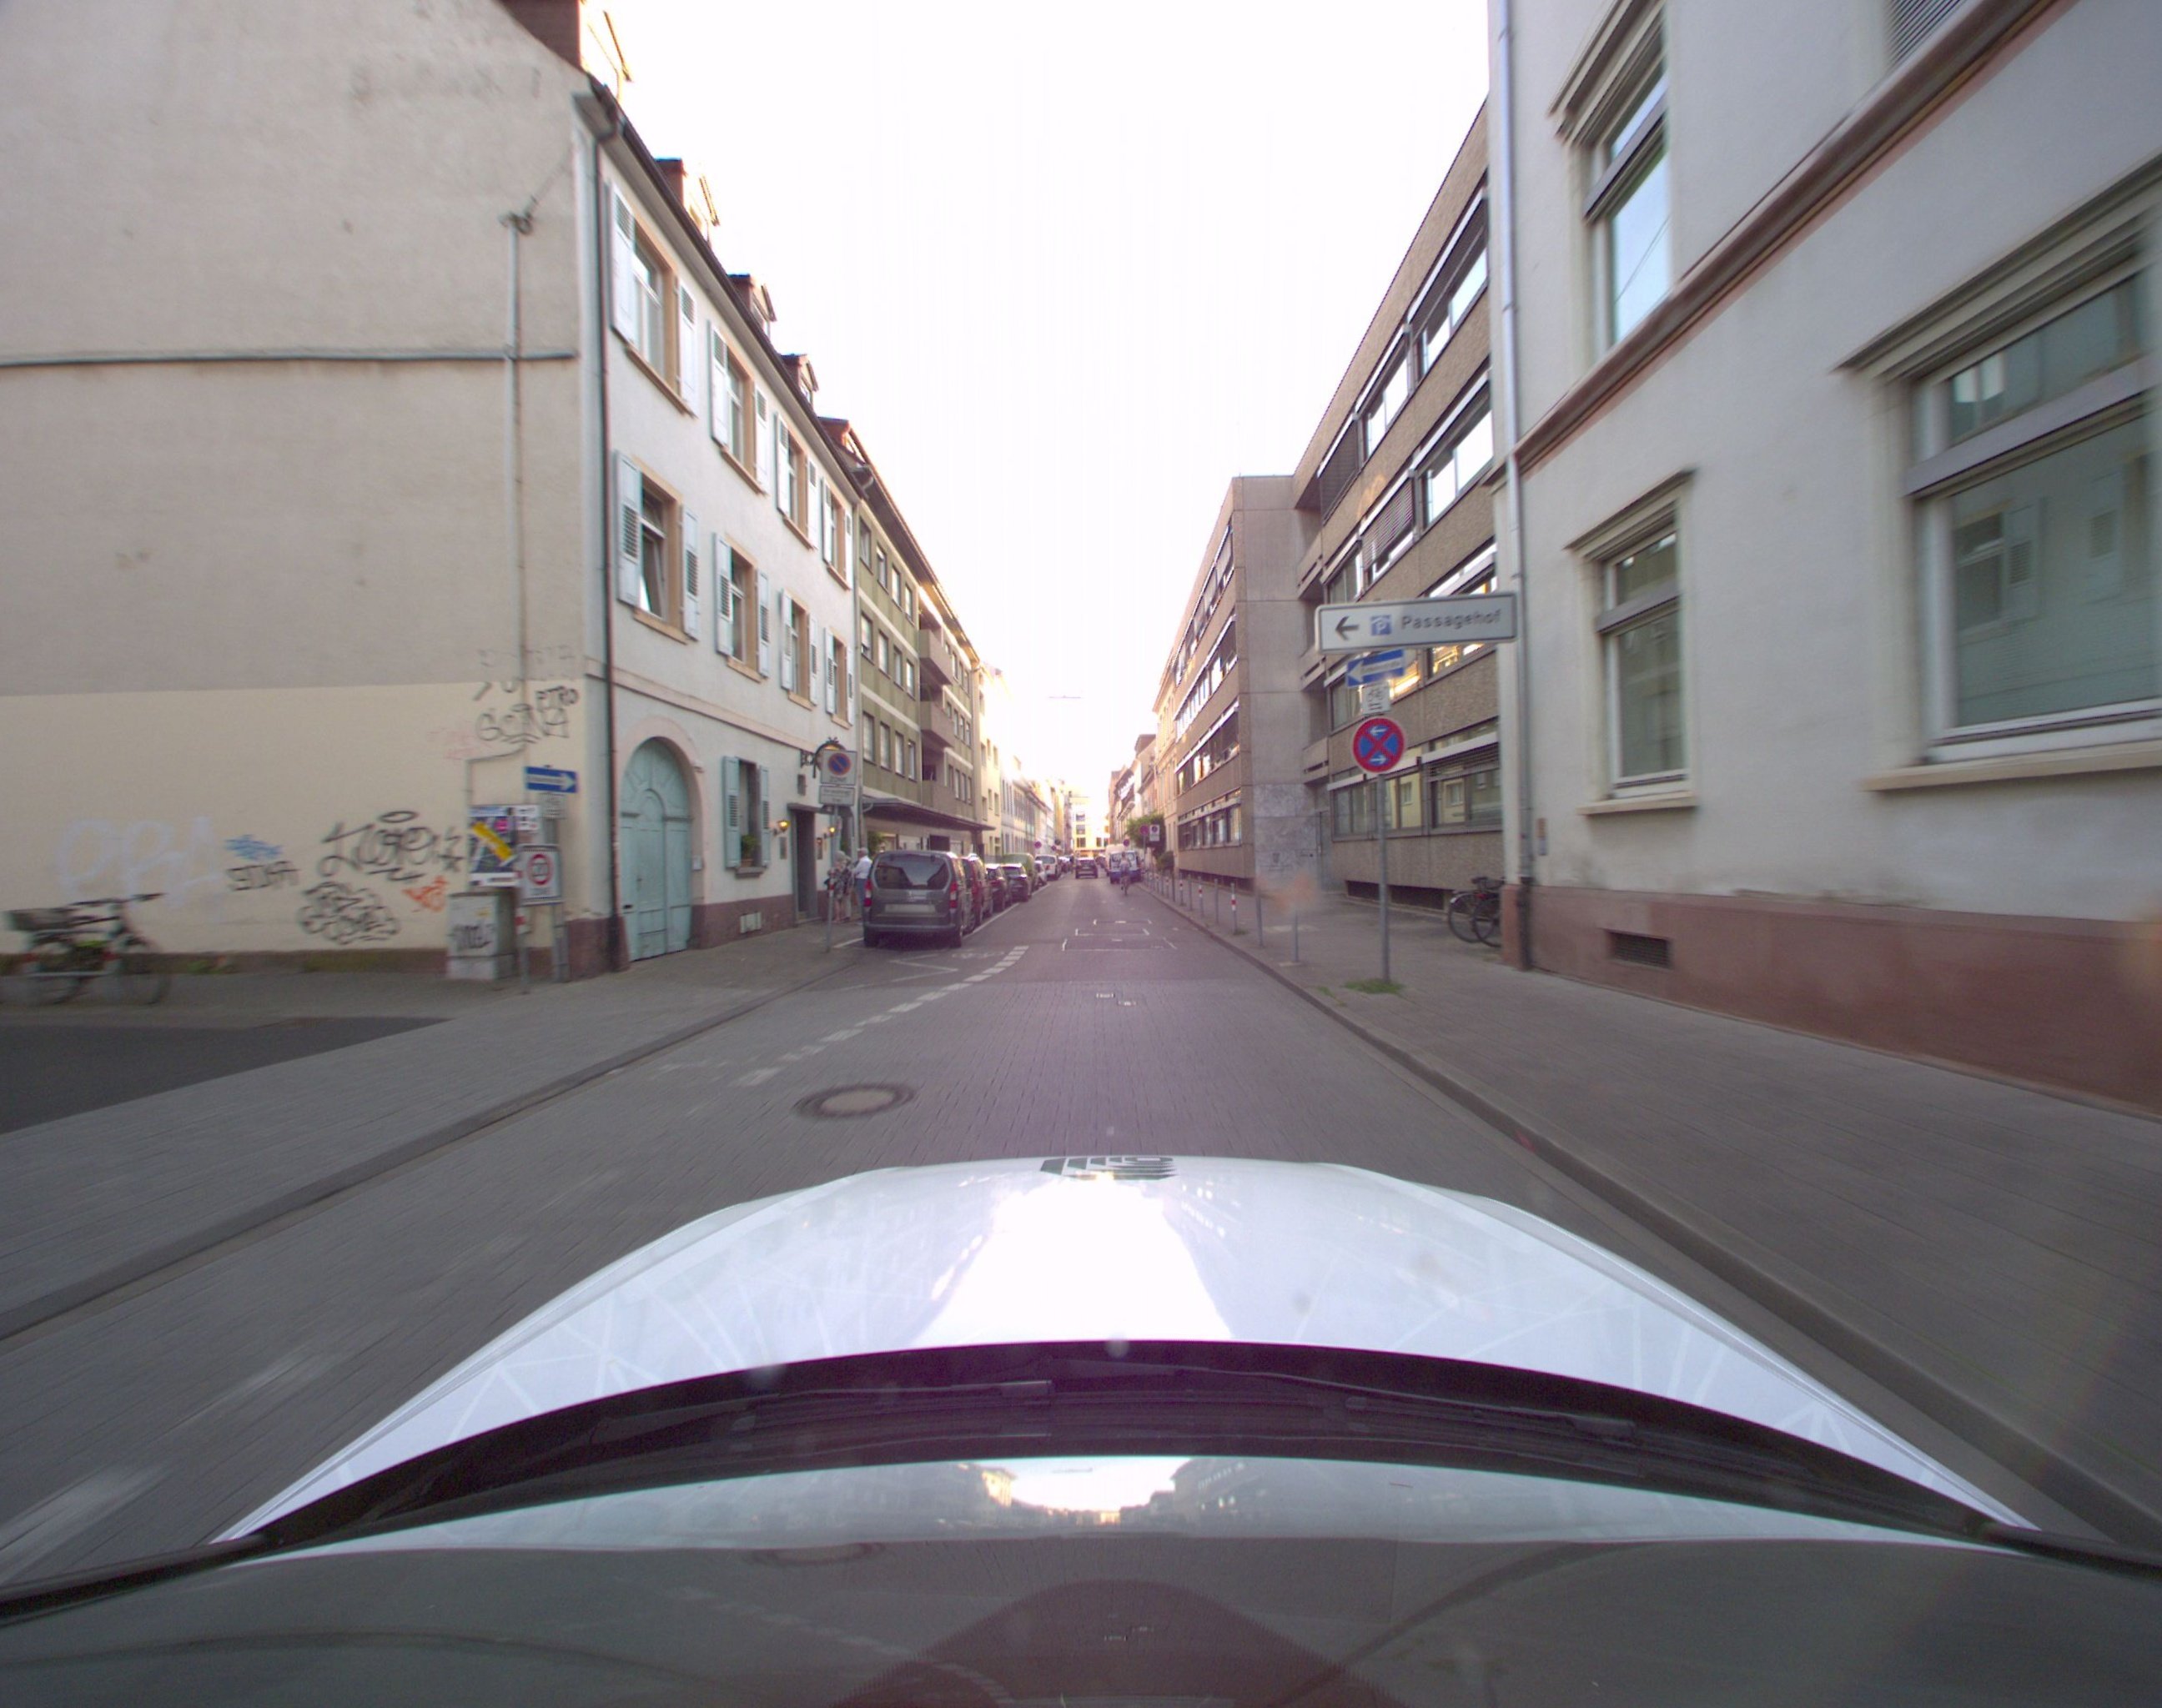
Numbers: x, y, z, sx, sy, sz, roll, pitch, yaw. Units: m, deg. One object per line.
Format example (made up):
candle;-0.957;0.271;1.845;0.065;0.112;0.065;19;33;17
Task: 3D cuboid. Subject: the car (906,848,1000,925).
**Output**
car;-3.266;0.779;21.554;1.767;1.811;4.509;-1;0;0

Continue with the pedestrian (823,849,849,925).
pedestrian;-5.714;0.766;19.000;0.404;1.750;0.470;-1;-1;2

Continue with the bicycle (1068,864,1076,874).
bicycle;-0.888;1.446;80.445;0.631;0.922;1.780;-1;0;1

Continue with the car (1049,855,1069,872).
car;-2.265;0.949;85.606;1.796;1.676;4.492;-2;0;2

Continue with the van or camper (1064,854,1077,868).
van or camper;-1.629;1.053;125.668;1.838;2.013;4.679;0;0;1

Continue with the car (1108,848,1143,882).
car;2.714;0.664;50.285;1.929;1.898;5.278;-2;0;1

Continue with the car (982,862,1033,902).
car;-2.763;1.021;31.185;1.619;1.416;3.979;-1;0;-1

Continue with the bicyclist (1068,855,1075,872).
bicyclist;-0.895;0.967;80.395;0.621;1.639;1.082;-1;-1;1

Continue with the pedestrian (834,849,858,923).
pedestrian;-5.643;0.768;19.557;0.404;1.750;0.470;-1;-1;2

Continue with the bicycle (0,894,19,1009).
bicycle;-12.514;1.063;8.658;1.915;1.217;0.629;-1;-1;9

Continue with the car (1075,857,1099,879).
car;0.467;1.078;63.981;1.813;1.618;4.000;0;0;0

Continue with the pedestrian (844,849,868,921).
pedestrian;-5.556;0.769;20.124;0.404;1.750;0.470;-1;-1;2

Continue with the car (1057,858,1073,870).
car;-1.977;1.245;103.040;1.912;1.434;4.292;0;0;-1

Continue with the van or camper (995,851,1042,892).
van or camper;-2.957;0.804;39.359;1.765;1.848;4.180;-2;0;2

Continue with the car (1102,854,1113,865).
car;3.918;0.827;119.944;1.647;1.561;3.606;0;0;1

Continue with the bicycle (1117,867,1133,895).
bicycle;1.808;1.083;33.421;0.611;1.082;1.810;-1;0;2

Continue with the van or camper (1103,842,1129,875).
van or camper;3.010;0.340;70.166;2.042;2.637;7.065;-2;0;2

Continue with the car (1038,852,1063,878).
car;-2.511;0.909;68.260;1.857;2.013;4.812;-2;0;0

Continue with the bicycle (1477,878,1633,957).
bicycle;6.100;0.800;10.503;1.794;0.923;0.515;-1;-1;-8

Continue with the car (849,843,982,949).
car;-3.152;0.745;16.421;1.872;1.811;4.447;-1;0;-2

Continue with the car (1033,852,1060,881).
car;-2.565;0.933;61.586;1.857;2.013;5.104;-2;0;0

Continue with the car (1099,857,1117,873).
car;3.007;1.180;90.079;1.812;1.530;5.074;-5;-1;2

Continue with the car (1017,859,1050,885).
car;-2.818;1.063;48.669;1.656;1.449;3.521;2;0;1

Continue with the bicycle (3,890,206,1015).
bicycle;-10.417;1.020;8.690;1.912;1.217;0.630;-1;-1;15

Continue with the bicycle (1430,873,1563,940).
bicycle;6.144;0.760;12.075;1.737;0.923;0.537;-1;-1;-7

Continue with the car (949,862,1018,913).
car;-3.073;1.022;26.335;1.618;1.485;3.878;-2;0;1

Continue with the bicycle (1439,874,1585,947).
bicycle;5.948;0.759;11.261;1.794;0.923;0.537;-1;-1;-8

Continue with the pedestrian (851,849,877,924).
pedestrian;-5.141;0.756;19.314;0.447;1.750;0.470;-1;-1;2

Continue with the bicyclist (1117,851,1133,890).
bicyclist;1.803;0.685;33.416;0.618;1.574;0.684;-1;-1;2
